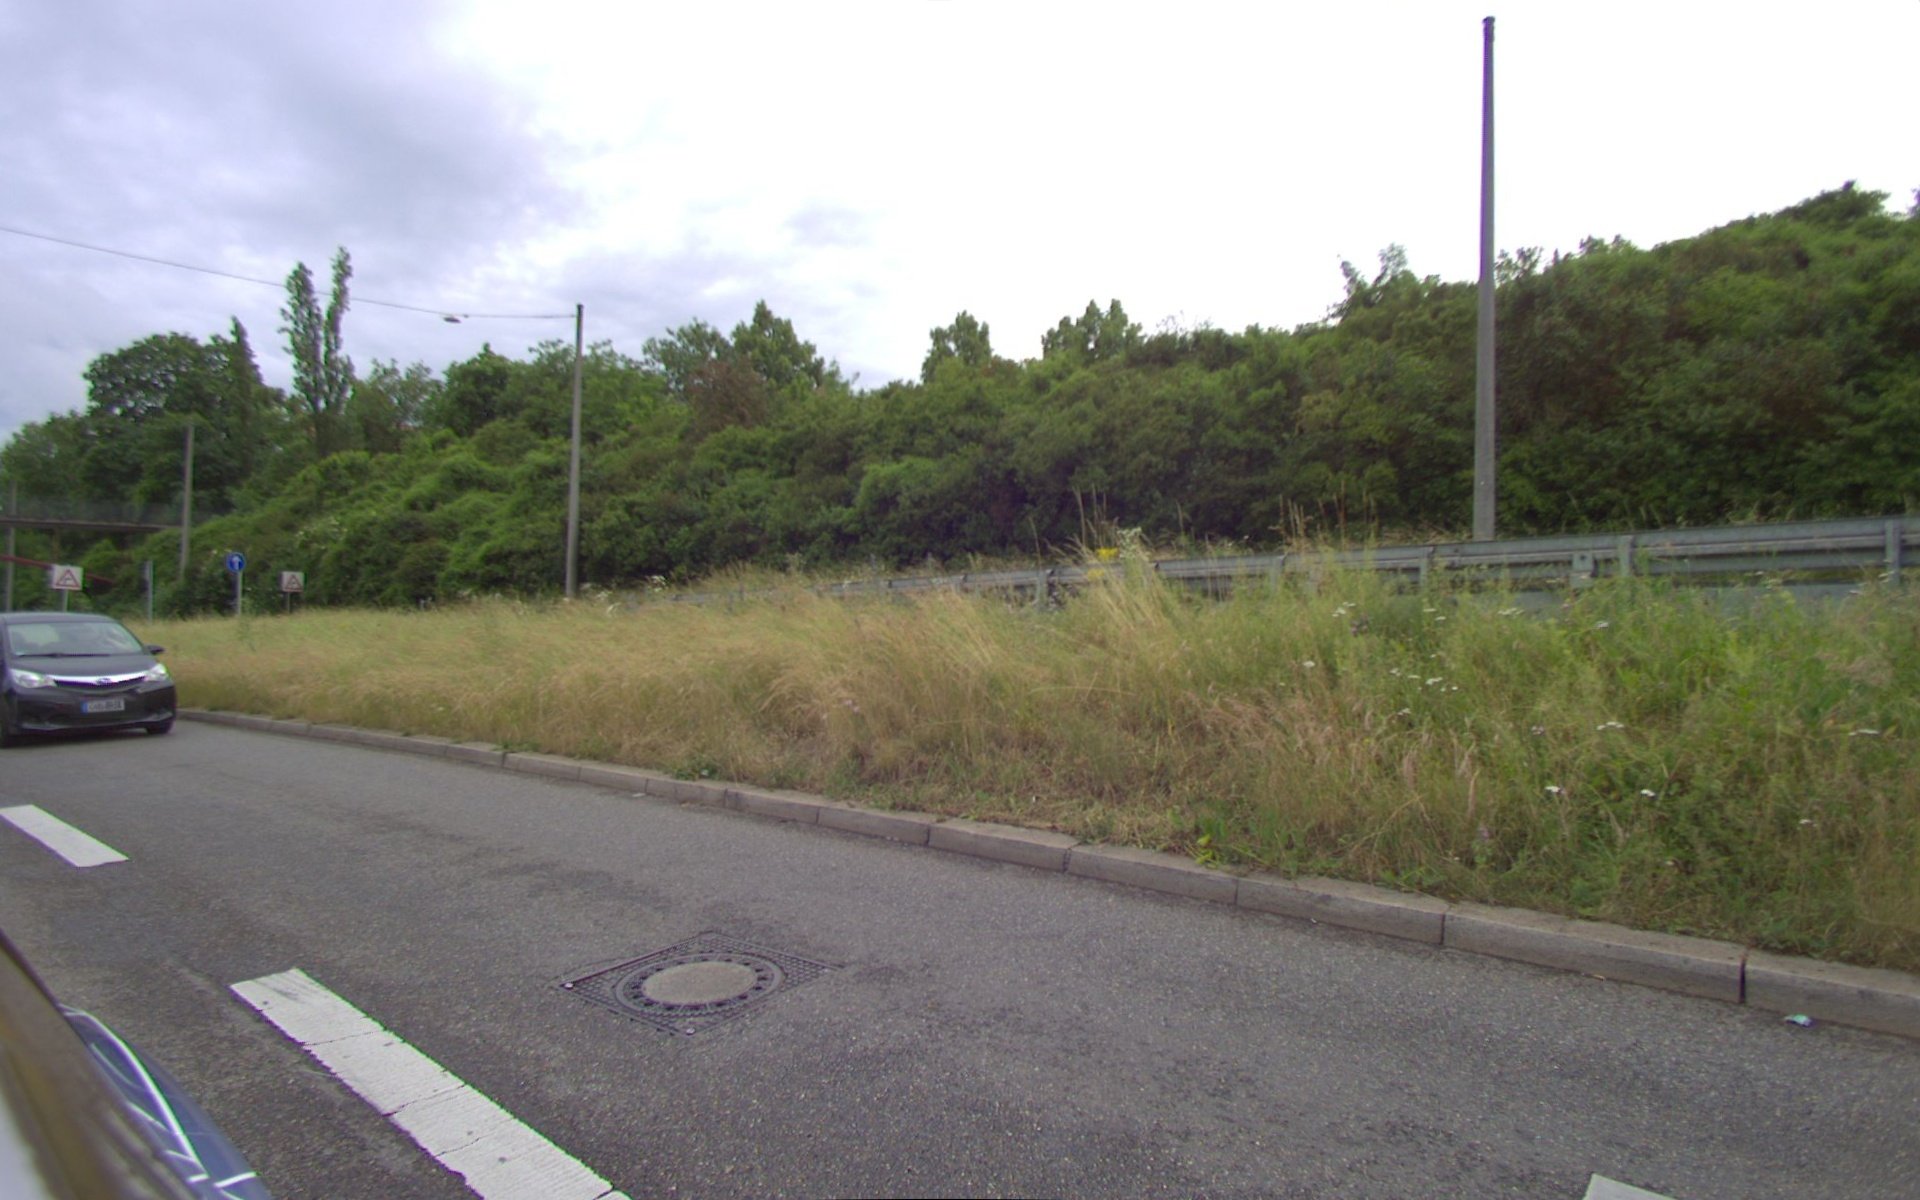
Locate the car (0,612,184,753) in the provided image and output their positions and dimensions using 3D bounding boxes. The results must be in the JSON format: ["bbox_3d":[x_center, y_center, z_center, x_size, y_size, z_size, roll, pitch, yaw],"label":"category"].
[{"bbox_3d":[-11.611,0.969,12.938,3.769,1.516,1.628,-2,0,35],"label":"car"}]
